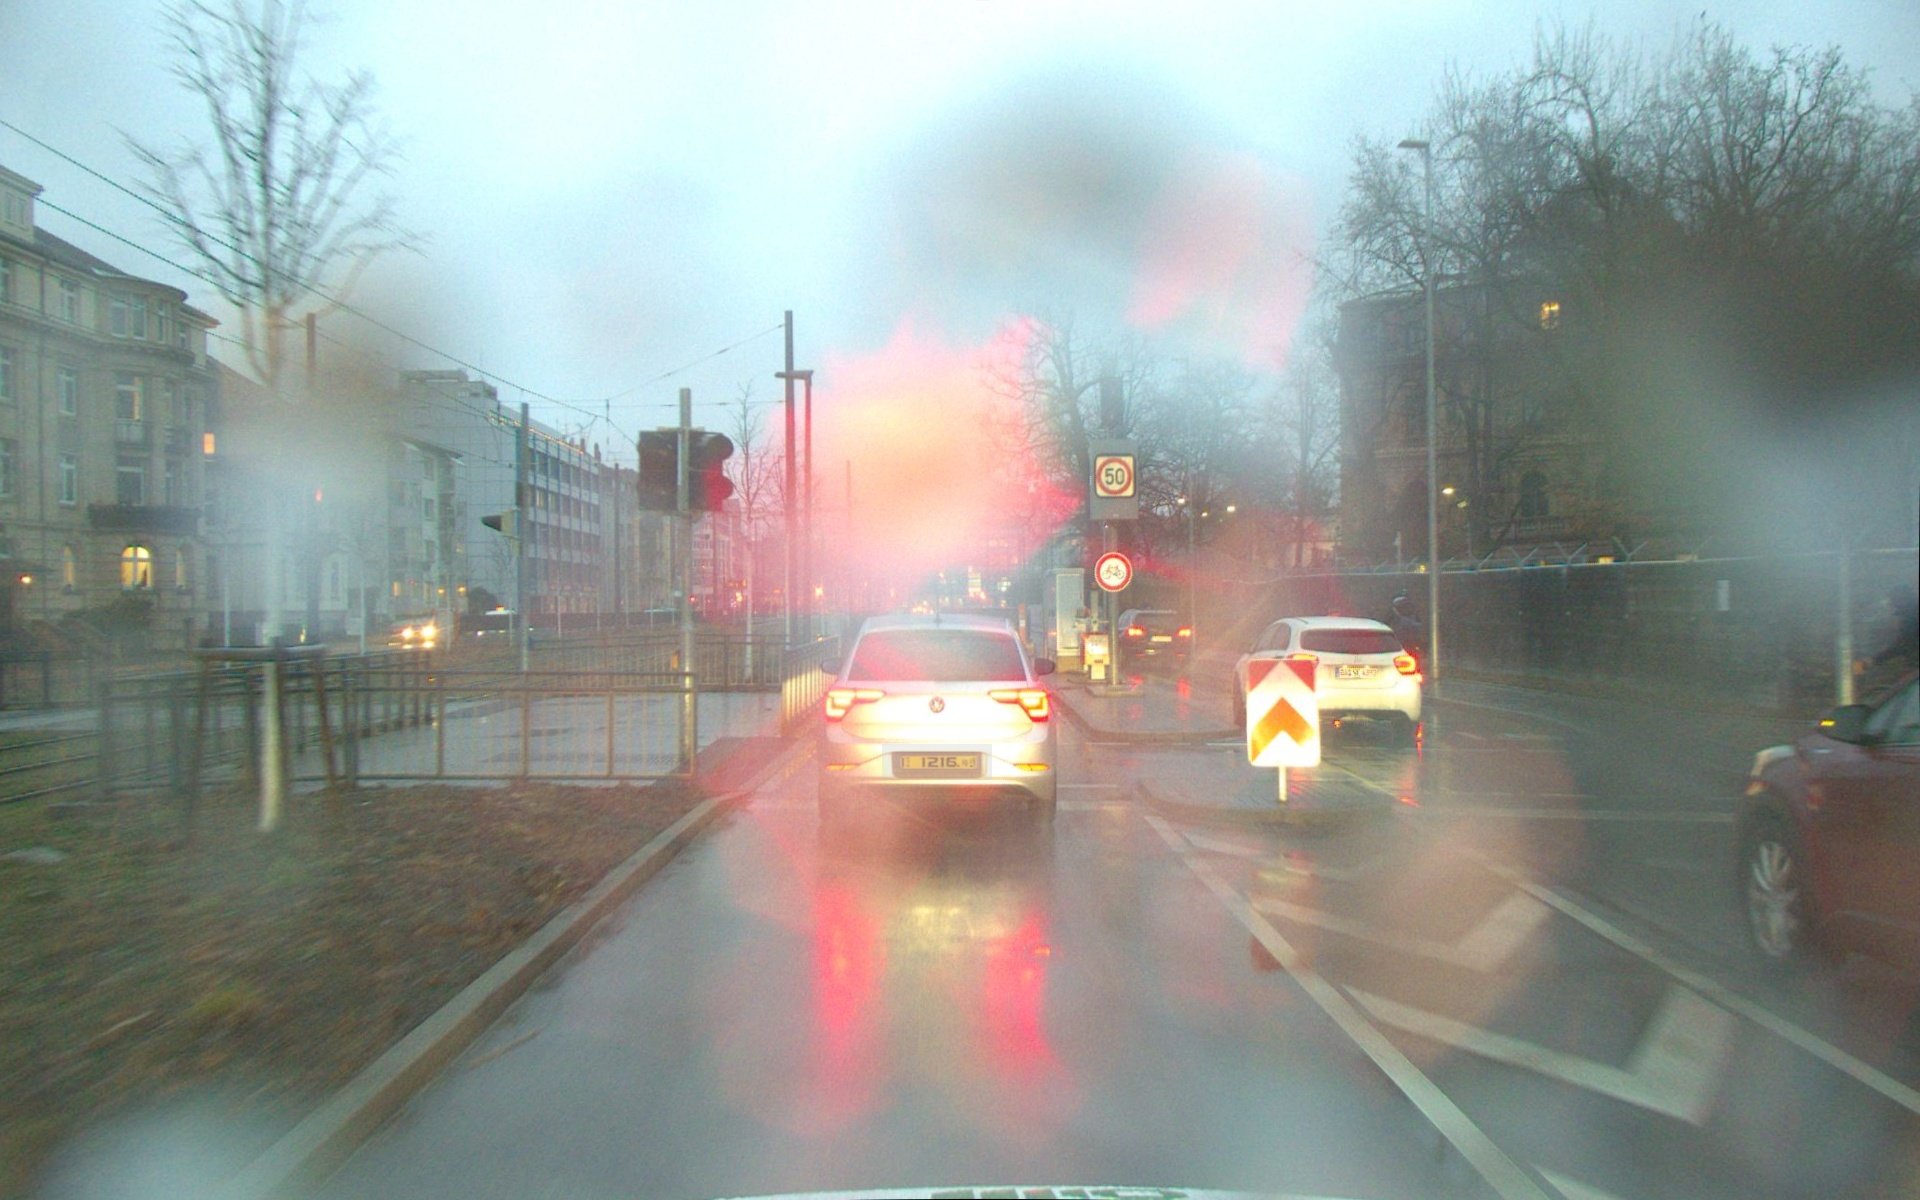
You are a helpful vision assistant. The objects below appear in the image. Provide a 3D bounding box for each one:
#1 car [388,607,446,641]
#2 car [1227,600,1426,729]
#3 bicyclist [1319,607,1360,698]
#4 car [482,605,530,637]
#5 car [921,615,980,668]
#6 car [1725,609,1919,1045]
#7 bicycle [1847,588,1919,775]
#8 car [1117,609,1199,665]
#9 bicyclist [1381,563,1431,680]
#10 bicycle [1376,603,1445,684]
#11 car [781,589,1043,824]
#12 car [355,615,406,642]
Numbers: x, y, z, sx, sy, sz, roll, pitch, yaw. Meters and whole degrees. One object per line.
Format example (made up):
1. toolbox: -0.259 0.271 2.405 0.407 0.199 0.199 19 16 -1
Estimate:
1. car: -29.503 1.284 89.963 1.954 1.722 4.108 -1 0 -4
2. car: 4.672 0.798 21.607 1.687 1.505 3.999 1 -1 0
3. bicyclist: 6.863 0.940 29.911 0.490 1.619 0.836 -1 0 -3
4. car: -29.241 1.330 106.698 1.954 1.967 4.908 -1 0 -4
5. car: -0.283 1.249 49.966 1.687 1.505 3.999 1 -1 0
6. car: 4.156 0.798 5.489 1.686 1.505 4.002 1 -1 5
7. bicycle: 9.250 0.746 14.812 2.207 1.686 0.686 0 -1 42
8. car: 4.993 0.930 42.121 1.590 1.322 3.999 1 -1 0
9. bicyclist: 6.994 0.333 25.936 0.490 1.798 0.836 -1 0 -3
10. bicycle: 6.983 0.650 25.717 0.403 1.206 2.028 -1 0 -3
11. car: -0.317 0.740 12.829 1.687 1.505 3.999 1 -1 0
12. car: -33.779 1.635 96.421 1.770 1.461 3.924 -1 0 -4
